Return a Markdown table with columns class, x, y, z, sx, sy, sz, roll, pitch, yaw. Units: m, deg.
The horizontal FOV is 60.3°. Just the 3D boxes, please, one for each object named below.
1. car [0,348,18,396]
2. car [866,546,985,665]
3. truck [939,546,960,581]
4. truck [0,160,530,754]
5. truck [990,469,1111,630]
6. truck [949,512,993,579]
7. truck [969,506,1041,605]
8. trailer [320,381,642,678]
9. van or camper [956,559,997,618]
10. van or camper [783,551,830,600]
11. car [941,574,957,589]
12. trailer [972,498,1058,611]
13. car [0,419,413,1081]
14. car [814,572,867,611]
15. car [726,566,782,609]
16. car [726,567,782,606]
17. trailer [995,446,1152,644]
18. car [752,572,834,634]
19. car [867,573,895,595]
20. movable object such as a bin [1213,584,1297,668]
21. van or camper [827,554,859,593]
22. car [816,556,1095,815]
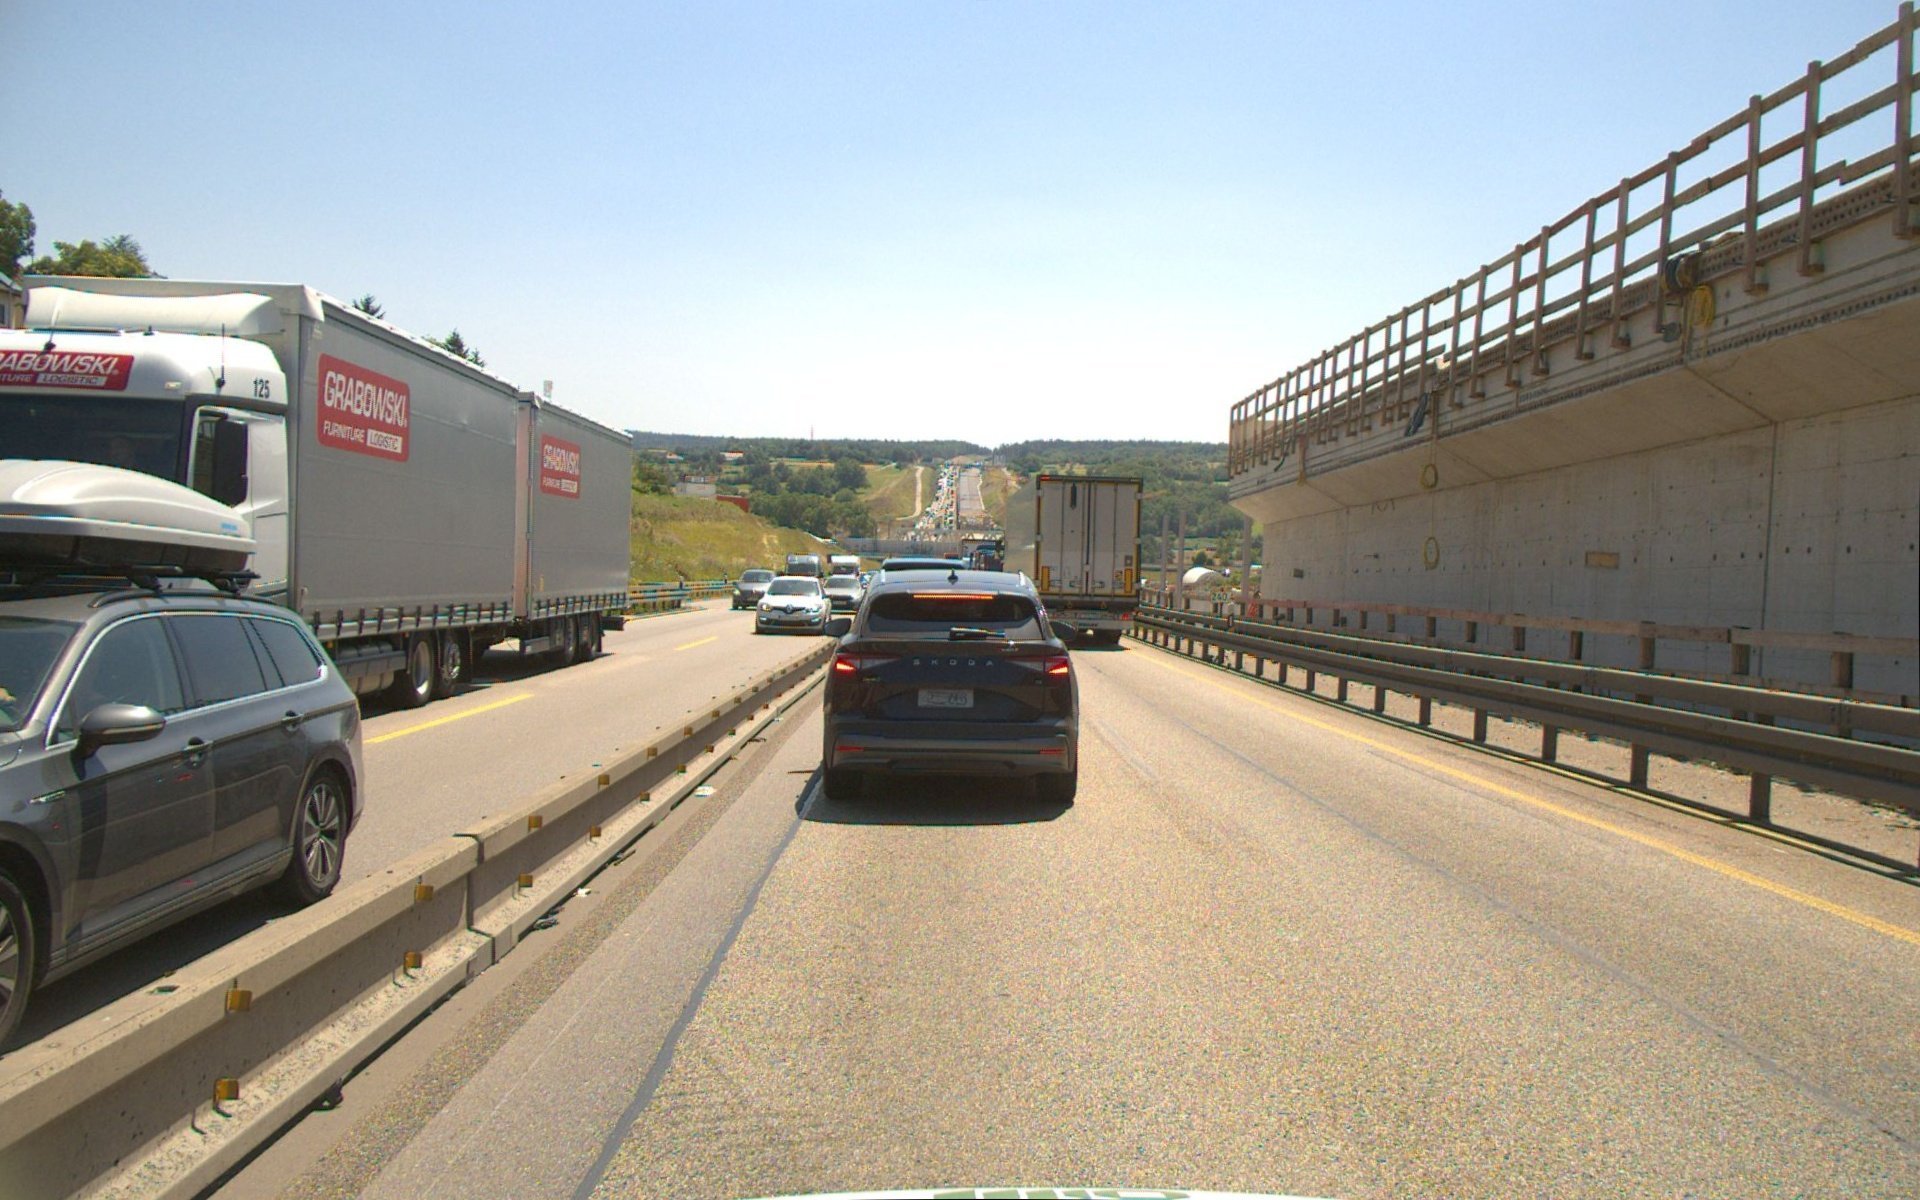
| class | x | y | z | sx | sy | sz | roll | pitch | yaw |
| --- | --- | --- | --- | --- | --- | --- | --- | --- | --- |
| car | -42.171 | -9.915 | 70.618 | 1.956 | 1.825 | 3.993 | 1 | 0 | -8 |
| car | -0.624 | 0.108 | 30.033 | 1.953 | 1.959 | 4.506 | 1 | 0 | -1 |
| truck | -1.397 | -4.770 | 217.303 | 2.586 | 4.267 | 9.282 | 1 | 0 | -1 |
| truck | -7.216 | -1.130 | 17.747 | 2.567 | 4.473 | 10.383 | 1 | 0 | -1 |
| truck | 2.687 | -1.543 | 51.973 | 3.116 | 4.591 | 8.165 | 1 | 1 | -1 |
| truck | 0.760 | -3.962 | 124.658 | 2.794 | 4.543 | 11.913 | 1 | 0 | -2 |
| truck | 2.153 | -2.106 | 82.371 | 3.116 | 4.592 | 8.163 | 1 | 0 | -1 |
| trailer | -7.486 | -1.000 | 27.307 | 2.870 | 4.058 | 8.704 | 1 | 0 | -1 |
| van or camper | 1.016 | -0.657 | 98.413 | 2.339 | 3.338 | 6.469 | 1 | 0 | 1 |
| van or camper | -8.610 | -1.376 | 93.338 | 2.096 | 2.618 | 6.563 | 2 | 1 | -1 |
| car | -1.223 | -2.095 | 188.074 | 1.776 | 1.629 | 4.573 | 1 | 1 | -1 |
| trailer | 2.312 | -1.830 | 75.376 | 3.116 | 4.592 | 14.963 | 1 | 0 | -1 |
| car | -3.707 | 0.402 | 6.243 | 1.811 | 1.923 | 4.500 | 1 | 1 | -1 |
| car | -4.657 | -0.335 | 64.946 | 1.792 | 1.458 | 4.628 | 1 | 1 | -1 |
| car | -8.338 | -0.510 | 67.301 | 1.737 | 1.609 | 4.285 | 2 | 1 | -1 |
| car | -8.328 | -0.517 | 67.119 | 1.954 | 1.500 | 3.997 | 1 | 0 | -3 |
| trailer | 2.814 | -1.439 | 45.510 | 3.116 | 4.591 | 13.107 | 1 | 1 | -1 |
| car | -4.291 | 0.053 | 42.966 | 1.766 | 1.489 | 3.999 | 1 | 1 | -1 |
| car | -5.506 | -1.131 | 116.379 | 1.805 | 1.501 | 4.834 | 1 | 1 | -1 |
| movable object such as a bin | 18.022 | 1.521 | 101.554 | 3.162 | 4.826 | 9.652 | 1 | 0 | -1 |
| van or camper | -9.619 | -2.190 | 136.522 | 2.245 | 3.120 | 6.923 | 1 | 1 | -1 |
| car | -0.040 | 0.540 | 12.675 | 1.765 | 1.635 | 4.000 | 1 | 0 | 0 |
